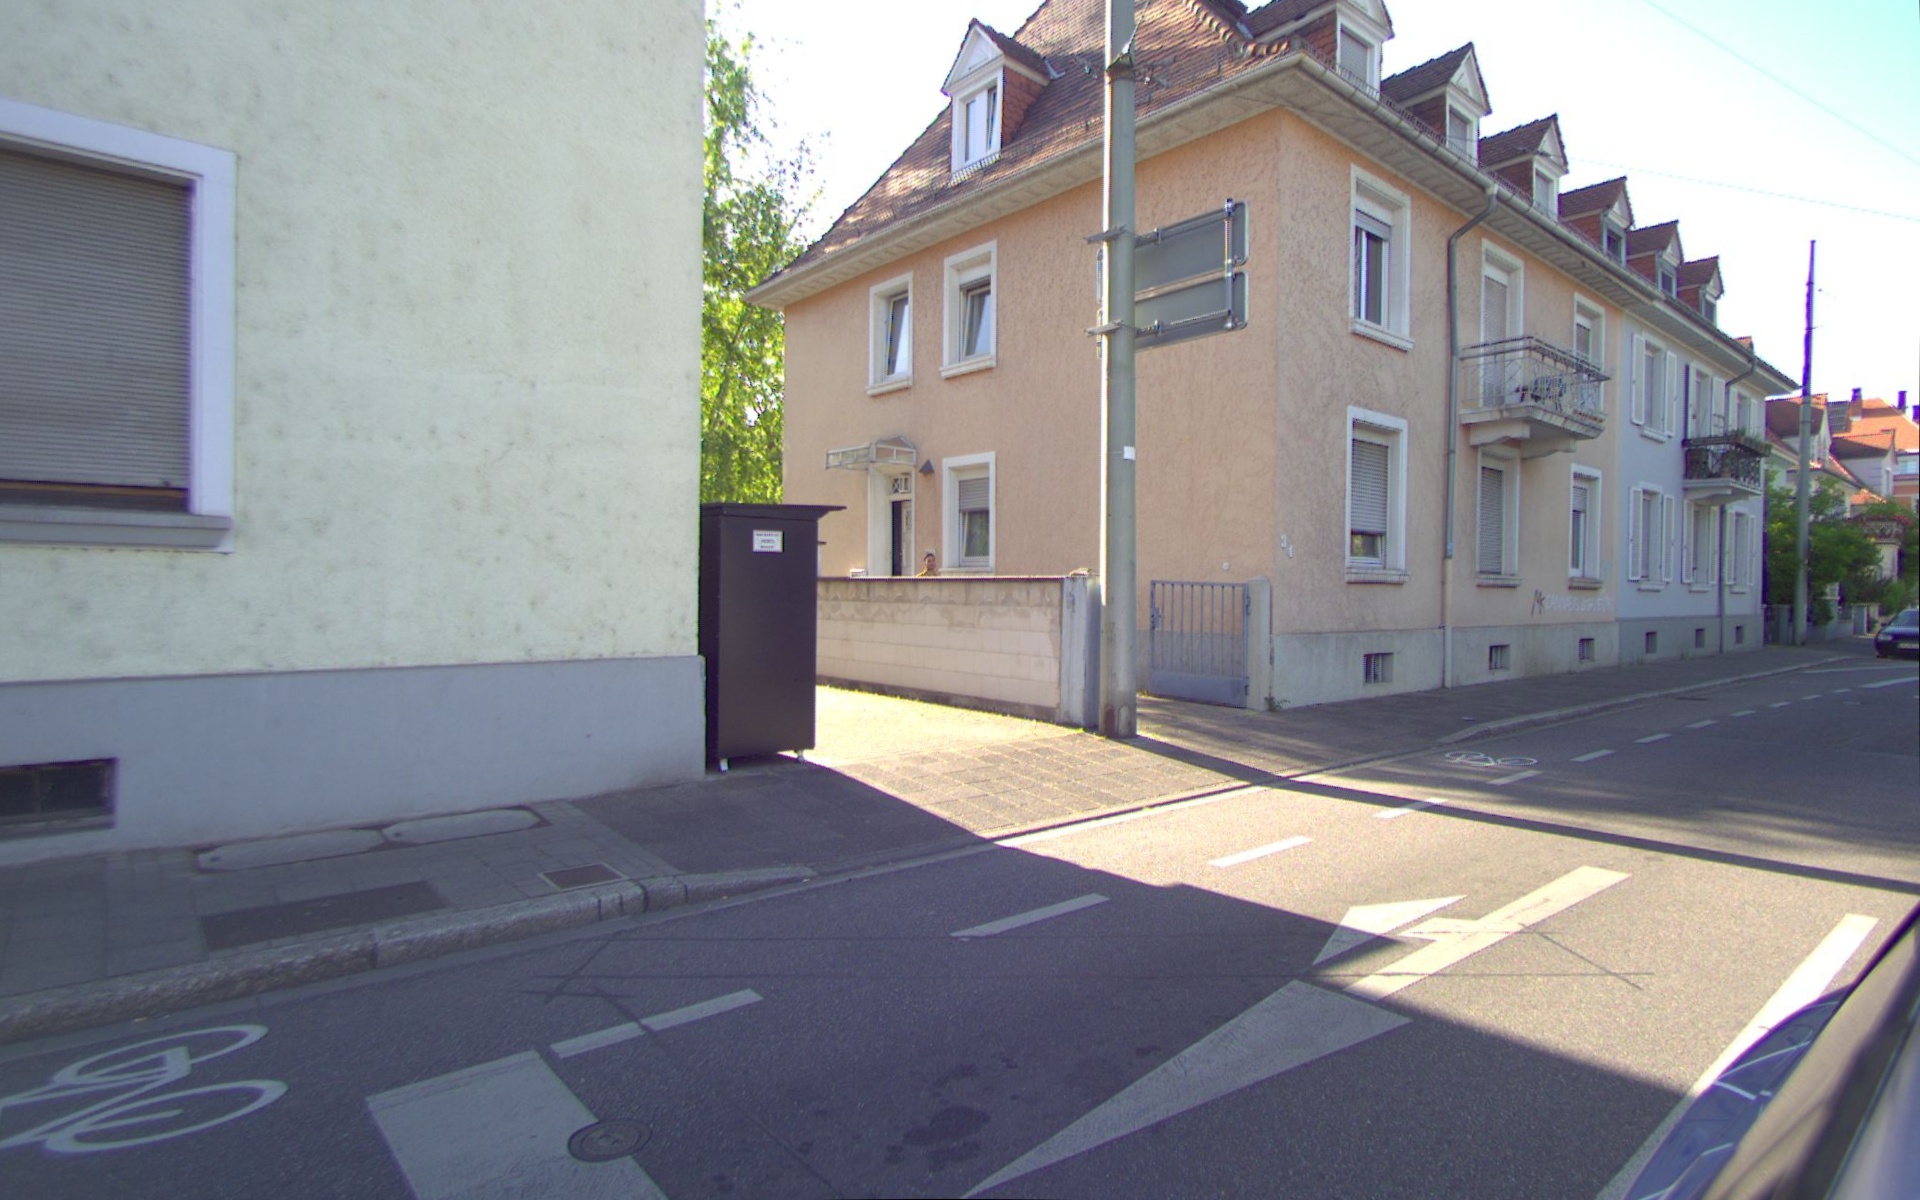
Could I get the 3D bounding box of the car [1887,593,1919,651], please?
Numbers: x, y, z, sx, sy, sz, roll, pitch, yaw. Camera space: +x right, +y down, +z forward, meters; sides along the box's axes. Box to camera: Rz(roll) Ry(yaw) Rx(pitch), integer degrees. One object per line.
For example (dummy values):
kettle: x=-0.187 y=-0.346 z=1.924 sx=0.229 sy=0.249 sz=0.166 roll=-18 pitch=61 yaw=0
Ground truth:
car: x=26.841 y=0.589 z=27.372 sx=3.925 sy=1.504 sz=1.883 roll=0 pitch=1 yaw=-37

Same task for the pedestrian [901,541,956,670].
pedestrian: x=-0.440 y=0.073 z=14.298 sx=0.592 sy=1.783 sz=0.486 roll=0 pitch=0 yaw=-39
